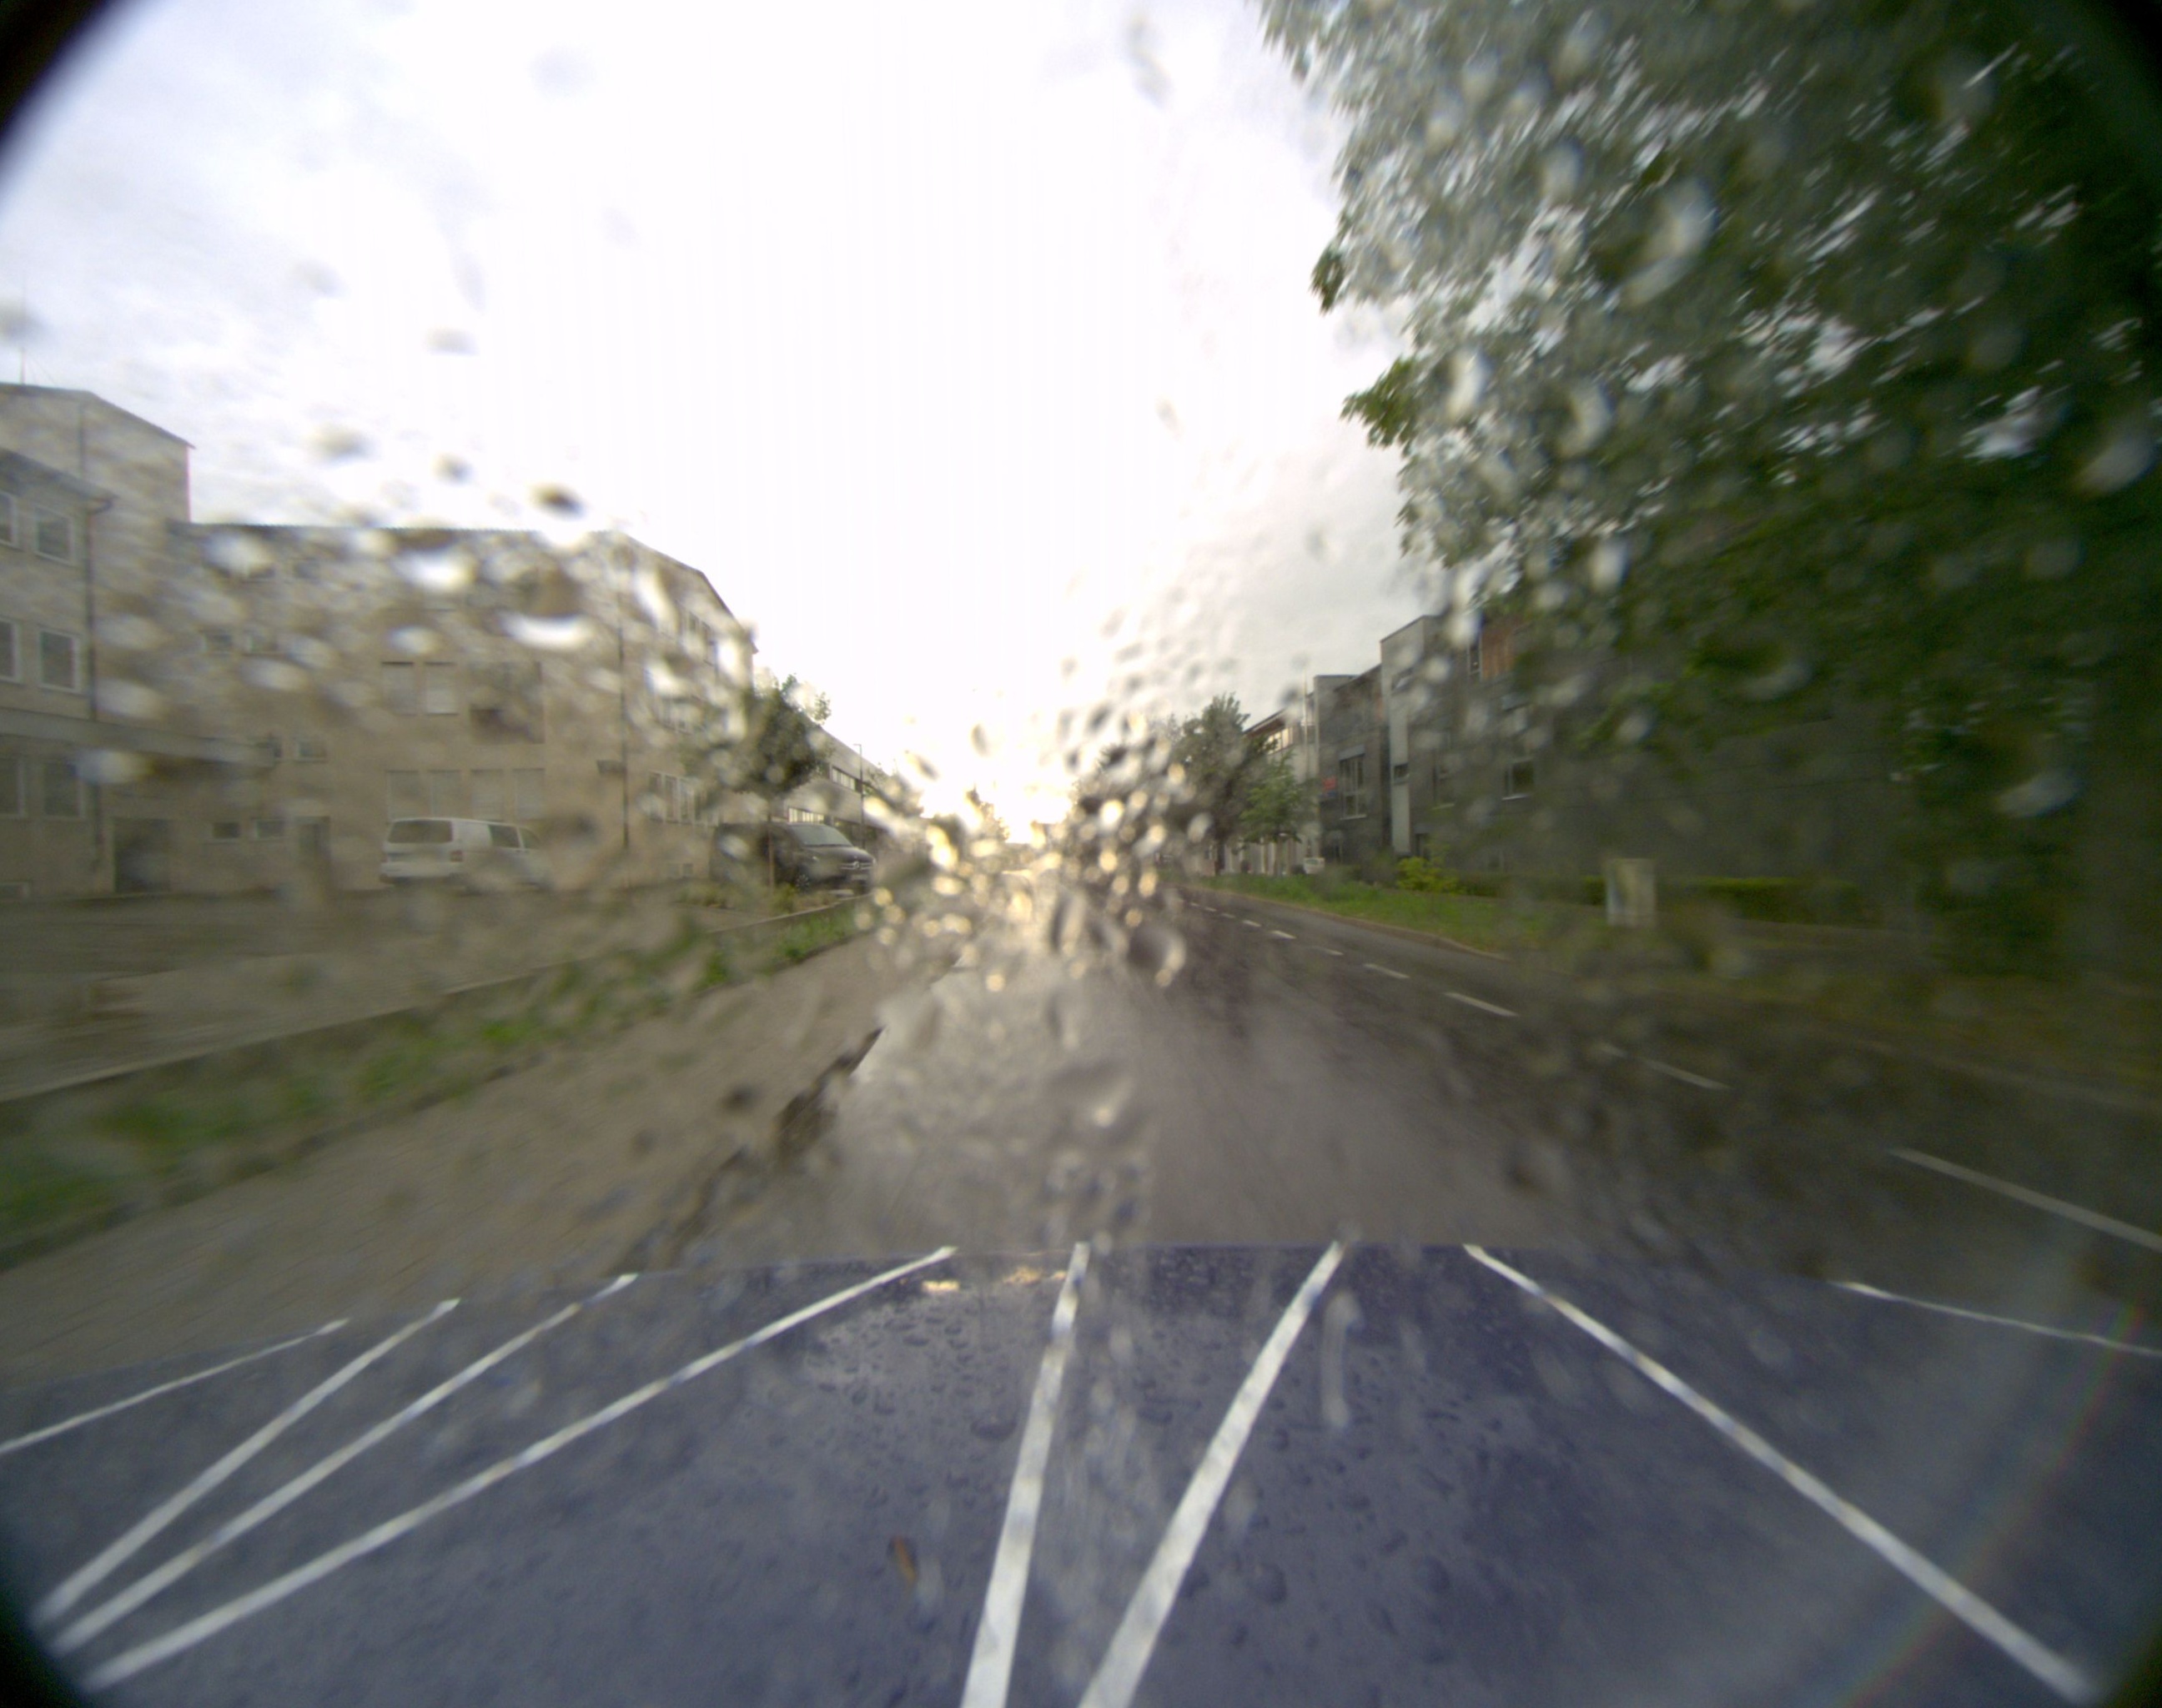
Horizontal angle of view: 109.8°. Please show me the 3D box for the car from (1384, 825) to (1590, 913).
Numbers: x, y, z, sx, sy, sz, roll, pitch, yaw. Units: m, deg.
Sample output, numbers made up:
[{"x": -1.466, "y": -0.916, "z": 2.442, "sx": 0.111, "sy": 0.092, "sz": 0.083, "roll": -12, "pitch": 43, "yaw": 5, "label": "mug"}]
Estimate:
[{"x": 7.040, "y": 0.224, "z": 13.322, "sx": 2.916, "sy": 1.447, "sz": 1.252, "roll": 0, "pitch": 3, "yaw": -3, "label": "car"}]

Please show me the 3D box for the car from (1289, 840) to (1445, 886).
[{"x": 8.181, "y": 0.226, "z": 21.946, "sx": 3.911, "sy": 1.277, "sz": 1.581, "roll": 0, "pitch": 1, "yaw": -3, "label": "car"}]

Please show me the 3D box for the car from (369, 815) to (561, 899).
[{"x": -16.308, "y": 0.098, "z": 20.488, "sx": 1.799, "sy": 2.001, "sz": 4.599, "roll": -1, "pitch": -1, "yaw": -6, "label": "car"}]

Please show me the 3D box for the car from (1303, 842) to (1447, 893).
[{"x": 7.048, "y": 0.298, "z": 18.380, "sx": 2.916, "sy": 1.152, "sz": 1.470, "roll": 0, "pitch": 1, "yaw": -3, "label": "car"}]

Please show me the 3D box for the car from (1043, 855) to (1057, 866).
[{"x": -4.710, "y": 1.044, "z": 113.674, "sx": 1.856, "sy": 1.545, "sz": 4.501, "roll": -3, "pitch": -1, "yaw": -4, "label": "car"}]

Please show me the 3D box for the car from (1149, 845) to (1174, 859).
[{"x": 12.061, "y": -0.260, "z": 114.132, "sx": 2.040, "sy": 1.811, "sz": 5.604, "roll": -3, "pitch": -1, "yaw": -10, "label": "car"}]

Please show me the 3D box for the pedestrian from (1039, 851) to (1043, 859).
[{"x": -8.661, "y": 0.194, "z": 164.668, "sx": 0.748, "sy": 1.827, "sz": 0.889, "roll": -1, "pitch": -1, "yaw": -14, "label": "pedestrian"}]

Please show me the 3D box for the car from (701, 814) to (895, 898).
[{"x": -7.360, "y": -0.019, "z": 19.559, "sx": 5.101, "sy": 1.909, "sz": 2.057, "roll": 1, "pitch": 2, "yaw": 34, "label": "car"}]
